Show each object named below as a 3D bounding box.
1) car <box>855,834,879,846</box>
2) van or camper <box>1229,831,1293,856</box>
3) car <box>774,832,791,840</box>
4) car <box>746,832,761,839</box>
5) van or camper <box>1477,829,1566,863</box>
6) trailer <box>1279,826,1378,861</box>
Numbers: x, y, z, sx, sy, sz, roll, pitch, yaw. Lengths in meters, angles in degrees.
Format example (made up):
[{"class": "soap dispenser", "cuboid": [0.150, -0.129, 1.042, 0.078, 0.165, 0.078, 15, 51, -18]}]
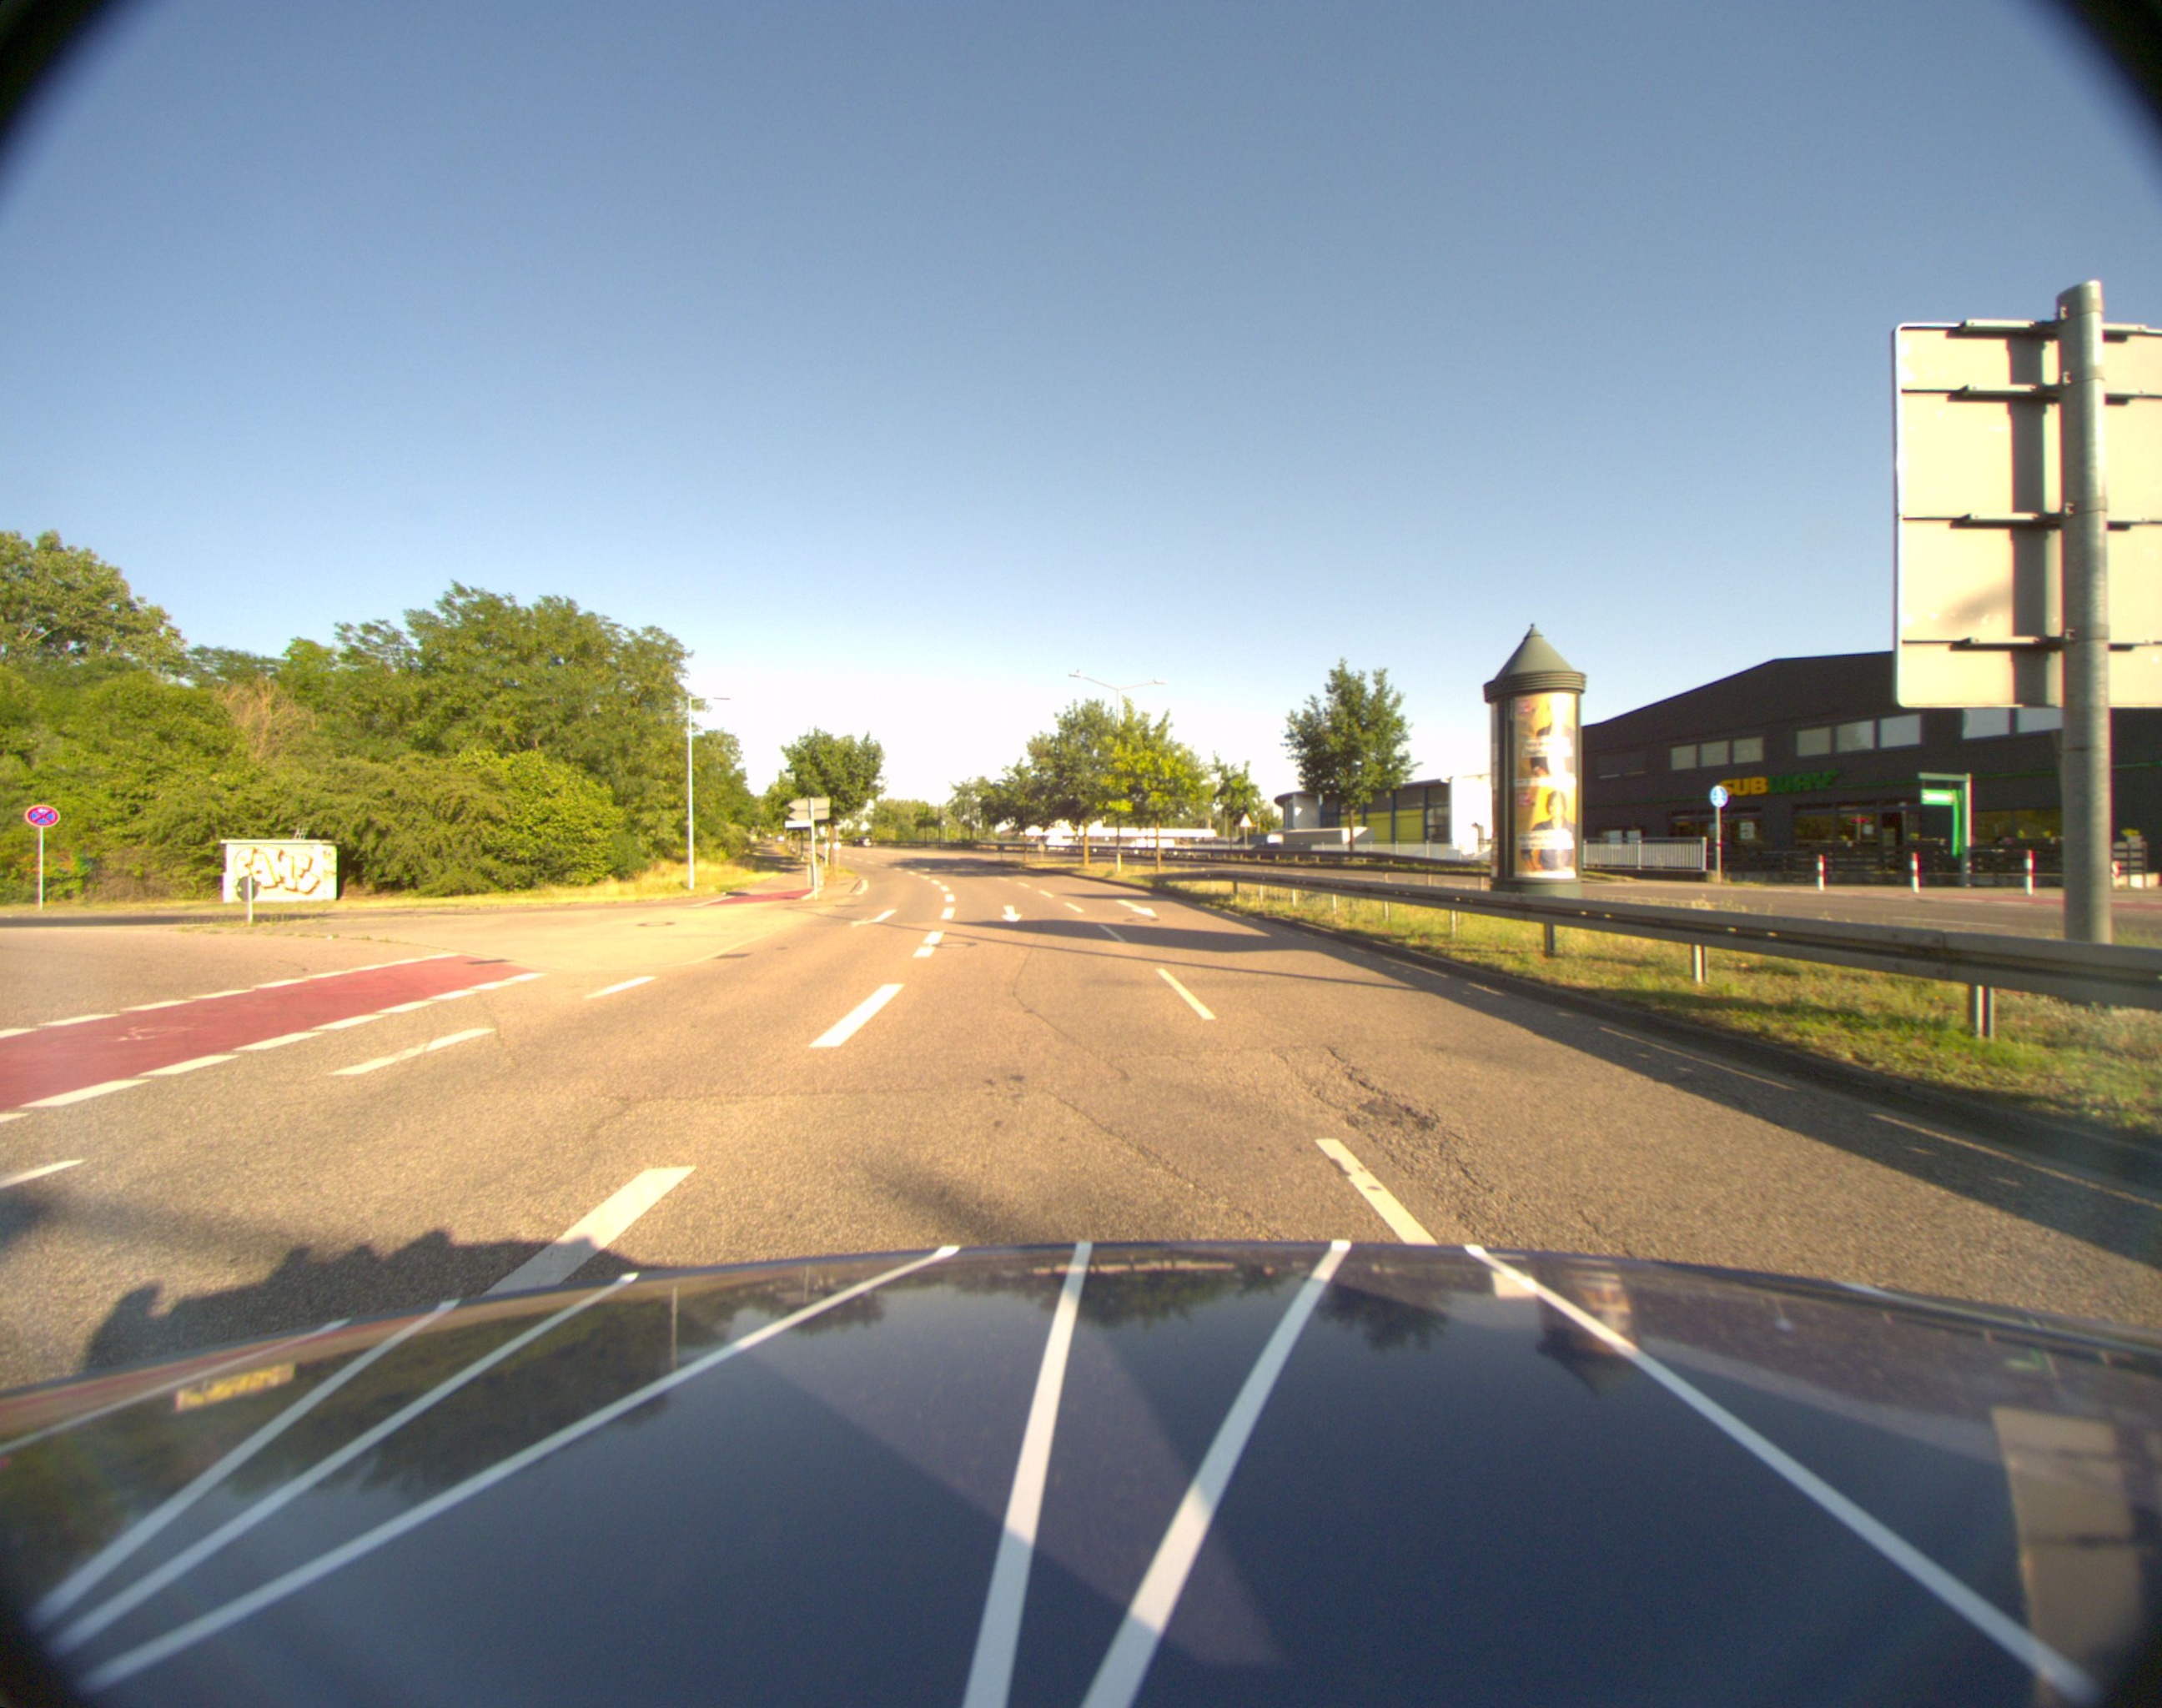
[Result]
[{"class": "car", "cuboid": [-30.443, -1.955, 107.962, 1.855, 1.595, 4.382, -2, 2, -36]}, {"class": "van or camper", "cuboid": [12.748, -0.805, 54.162, 2.002, 1.676, 4.950, -2, 2, -20]}, {"class": "car", "cuboid": [-55.308, -3.250, 140.704, 1.681, 1.454, 4.093, -2, 3, -39]}, {"class": "car", "cuboid": [-66.806, -3.747, 154.963, 1.749, 1.454, 3.755, -4, 3, -40]}, {"class": "van or camper", "cuboid": [26.077, -0.524, 45.136, 4.220, 1.915, 2.002, 1, 3, 17]}, {"class": "trailer", "cuboid": [15.247, -0.700, 47.360, 2.429, 1.959, 6.593, -1, 2, -19]}]
